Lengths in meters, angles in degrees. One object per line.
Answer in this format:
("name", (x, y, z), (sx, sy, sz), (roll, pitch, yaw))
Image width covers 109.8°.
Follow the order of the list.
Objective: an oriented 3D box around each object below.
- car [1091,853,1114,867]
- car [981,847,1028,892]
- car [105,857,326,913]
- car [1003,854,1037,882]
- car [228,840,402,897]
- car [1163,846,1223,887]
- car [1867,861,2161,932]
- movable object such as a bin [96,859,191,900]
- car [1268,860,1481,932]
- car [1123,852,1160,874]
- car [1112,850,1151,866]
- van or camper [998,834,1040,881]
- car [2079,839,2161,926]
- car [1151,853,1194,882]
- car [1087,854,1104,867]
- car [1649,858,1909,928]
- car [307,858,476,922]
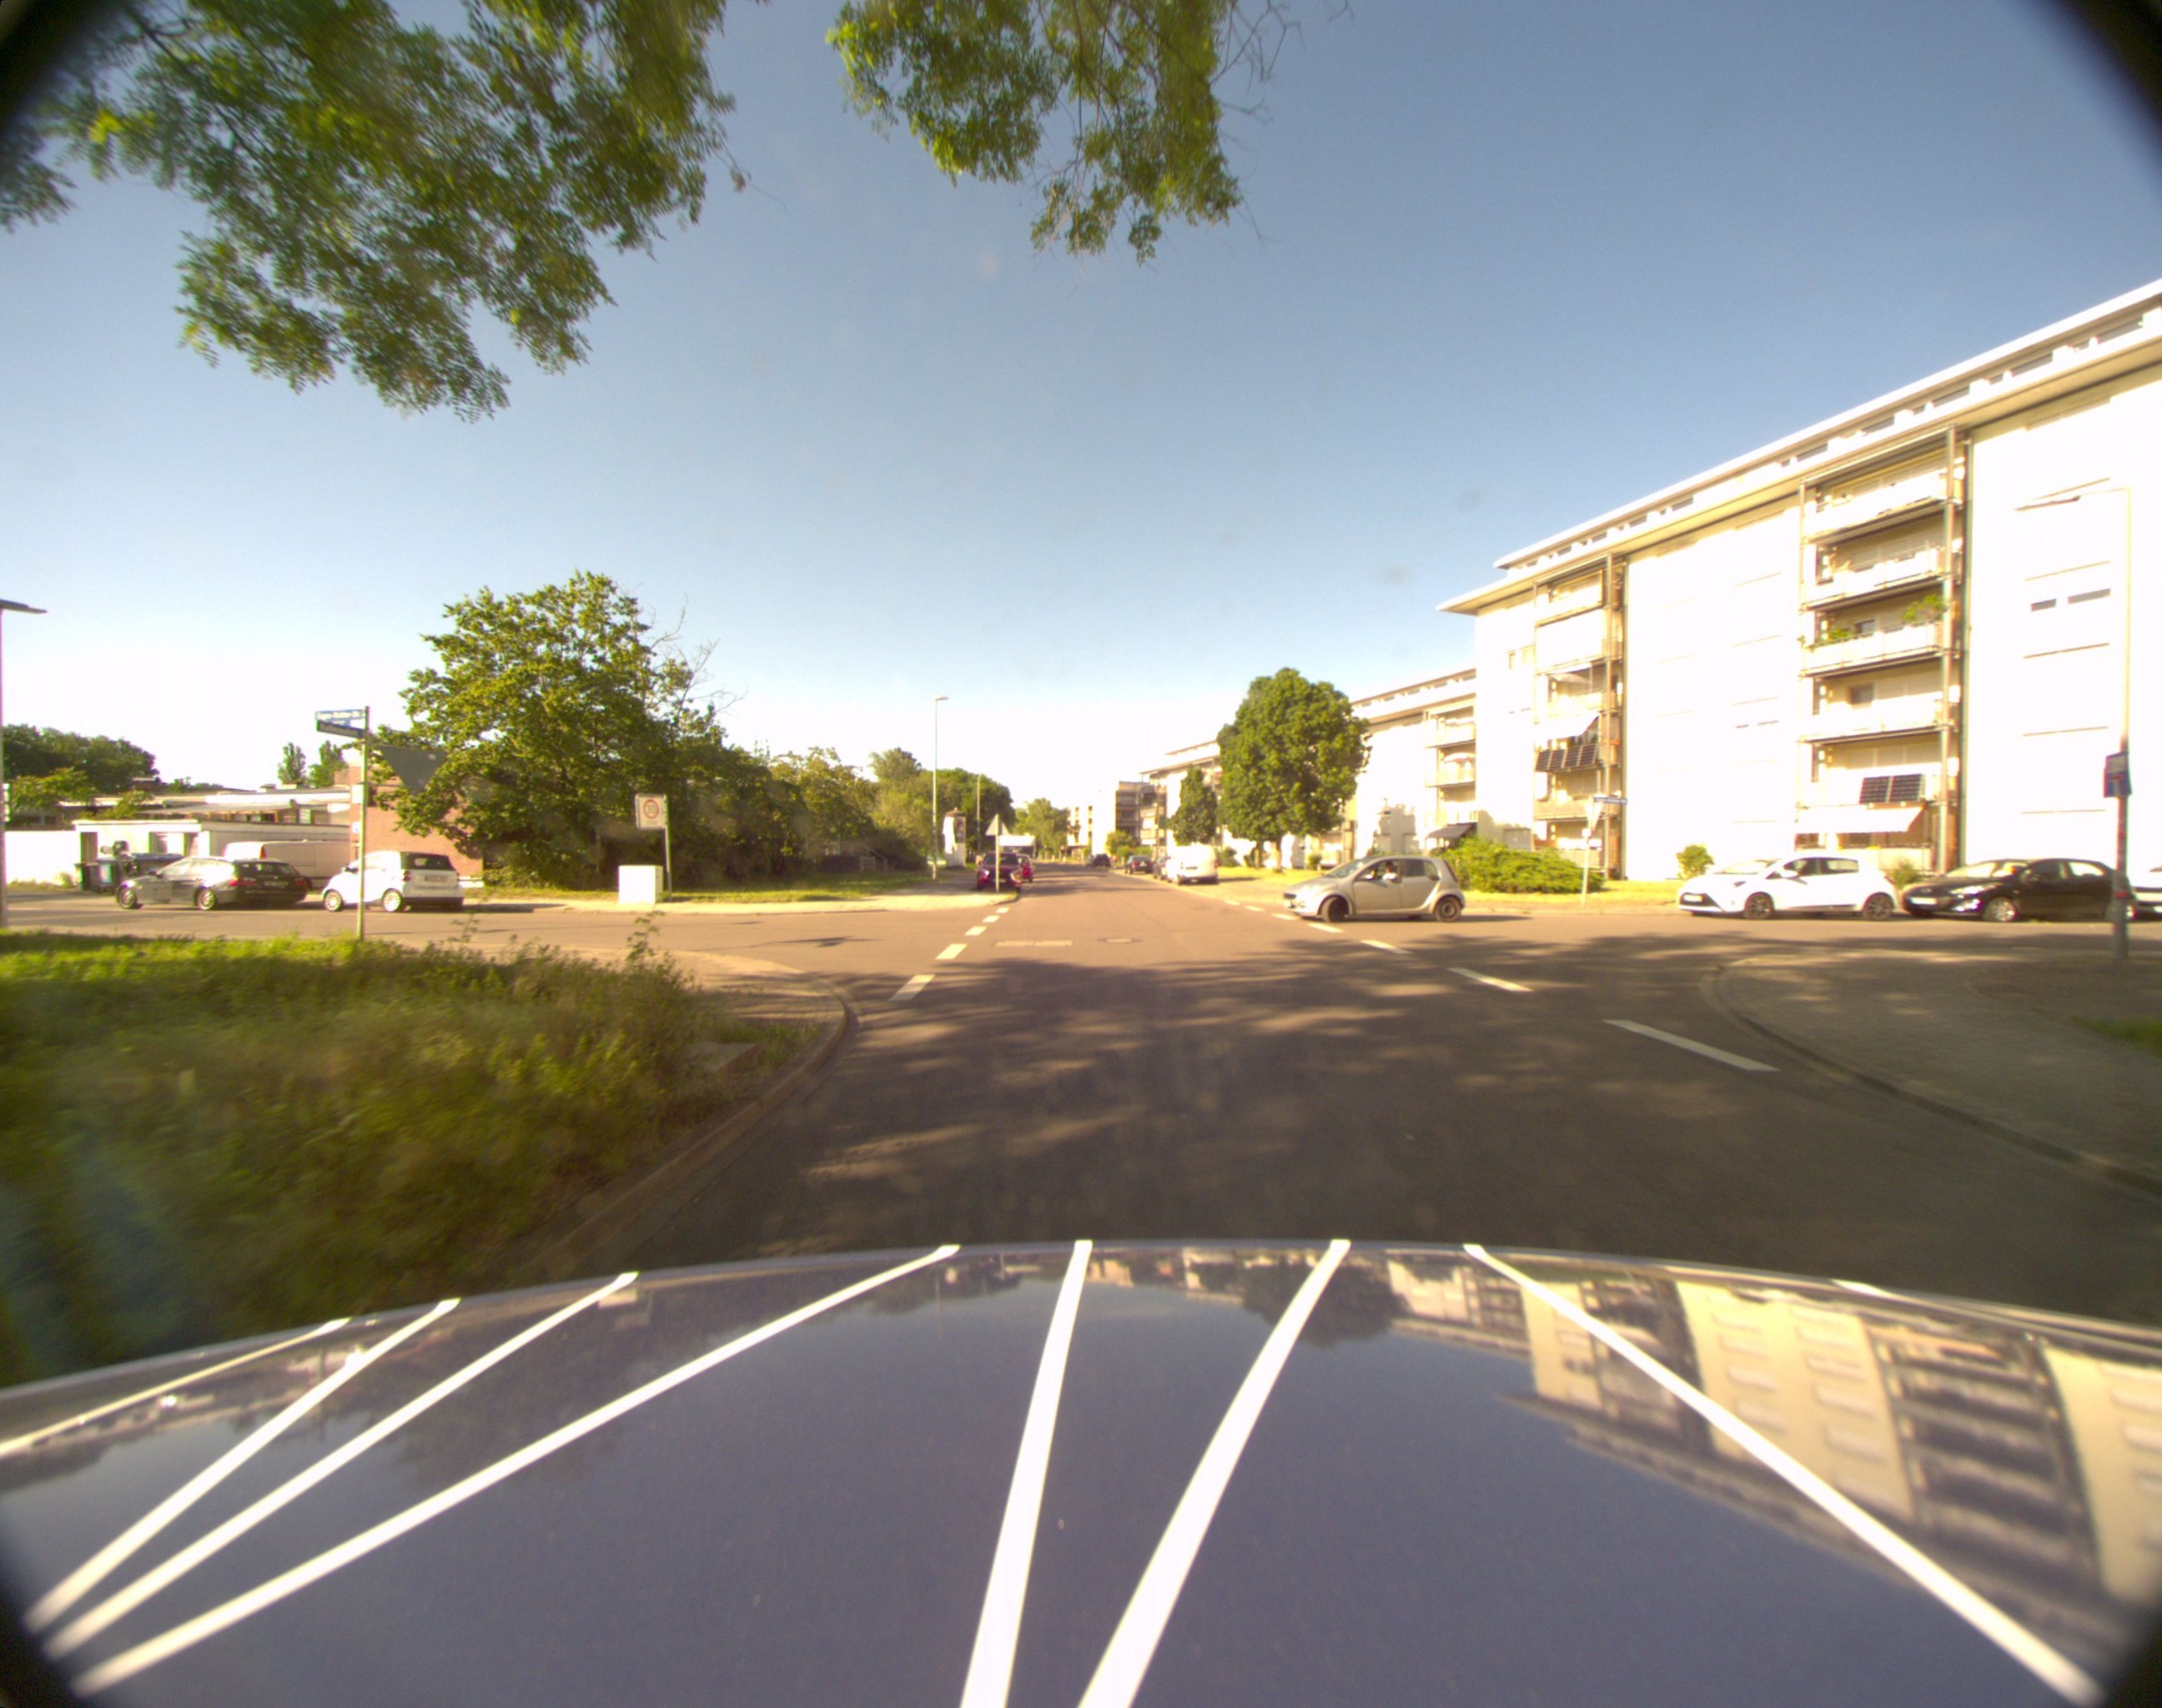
("car", (2.426, 0.661, 86.178), (1.920, 1.594, 4.808), (1, 0, -7))
("car", (-3.205, 0.610, 32.347), (1.780, 1.670, 4.643), (3, 0, -4))
("car", (-23.491, 0.798, 20.693), (4.491, 1.402, 1.970), (0, 0, 11))
("car", (-3.285, 0.724, 41.562), (1.696, 1.465, 3.999), (1, 0, -3))
("car", (-26.716, 0.471, 26.690), (1.696, 1.858, 4.004), (0, 0, 13))
("car", (5.524, 0.582, 38.178), (2.020, 1.874, 5.189), (-1, 0, -2))
("car", (21.318, 0.929, 17.345), (4.452, 1.452, 2.044), (1, 0, 4))
("movable object such as a bin", (-32.829, 0.866, 26.619), (2.563, 1.365, 1.242), (0, 0, 18))
("car", (6.349, 0.878, 16.801), (3.938, 1.452, 1.998), (0, 0, 0))
("car", (4.530, 0.664, 57.470), (2.040, 1.484, 5.254), (-2, 0, -3))
("car", (8.011, 0.712, 120.598), (5.924, 2.414, 2.212), (1, -1, -9))
("van or camper", (-4.046, 0.223, 50.380), (2.504, 2.828, 6.849), (1, 0, -4))
("car", (26.476, 0.662, 16.955), (5.116, 1.939, 2.238), (1, 0, 5))
("car", (5.306, 0.754, 44.671), (1.838, 1.509, 4.220), (-1, 0, -2))
("car", (1.715, 0.798, 92.426), (1.651, 1.458, 4.328), (-1, 0, -5))
("car", (15.860, 0.837, 17.472), (3.996, 1.455, 2.044), (1, 0, 4))
("car", (-17.616, 0.921, 19.493), (2.959, 1.553, 1.703), (0, -3, 11))
